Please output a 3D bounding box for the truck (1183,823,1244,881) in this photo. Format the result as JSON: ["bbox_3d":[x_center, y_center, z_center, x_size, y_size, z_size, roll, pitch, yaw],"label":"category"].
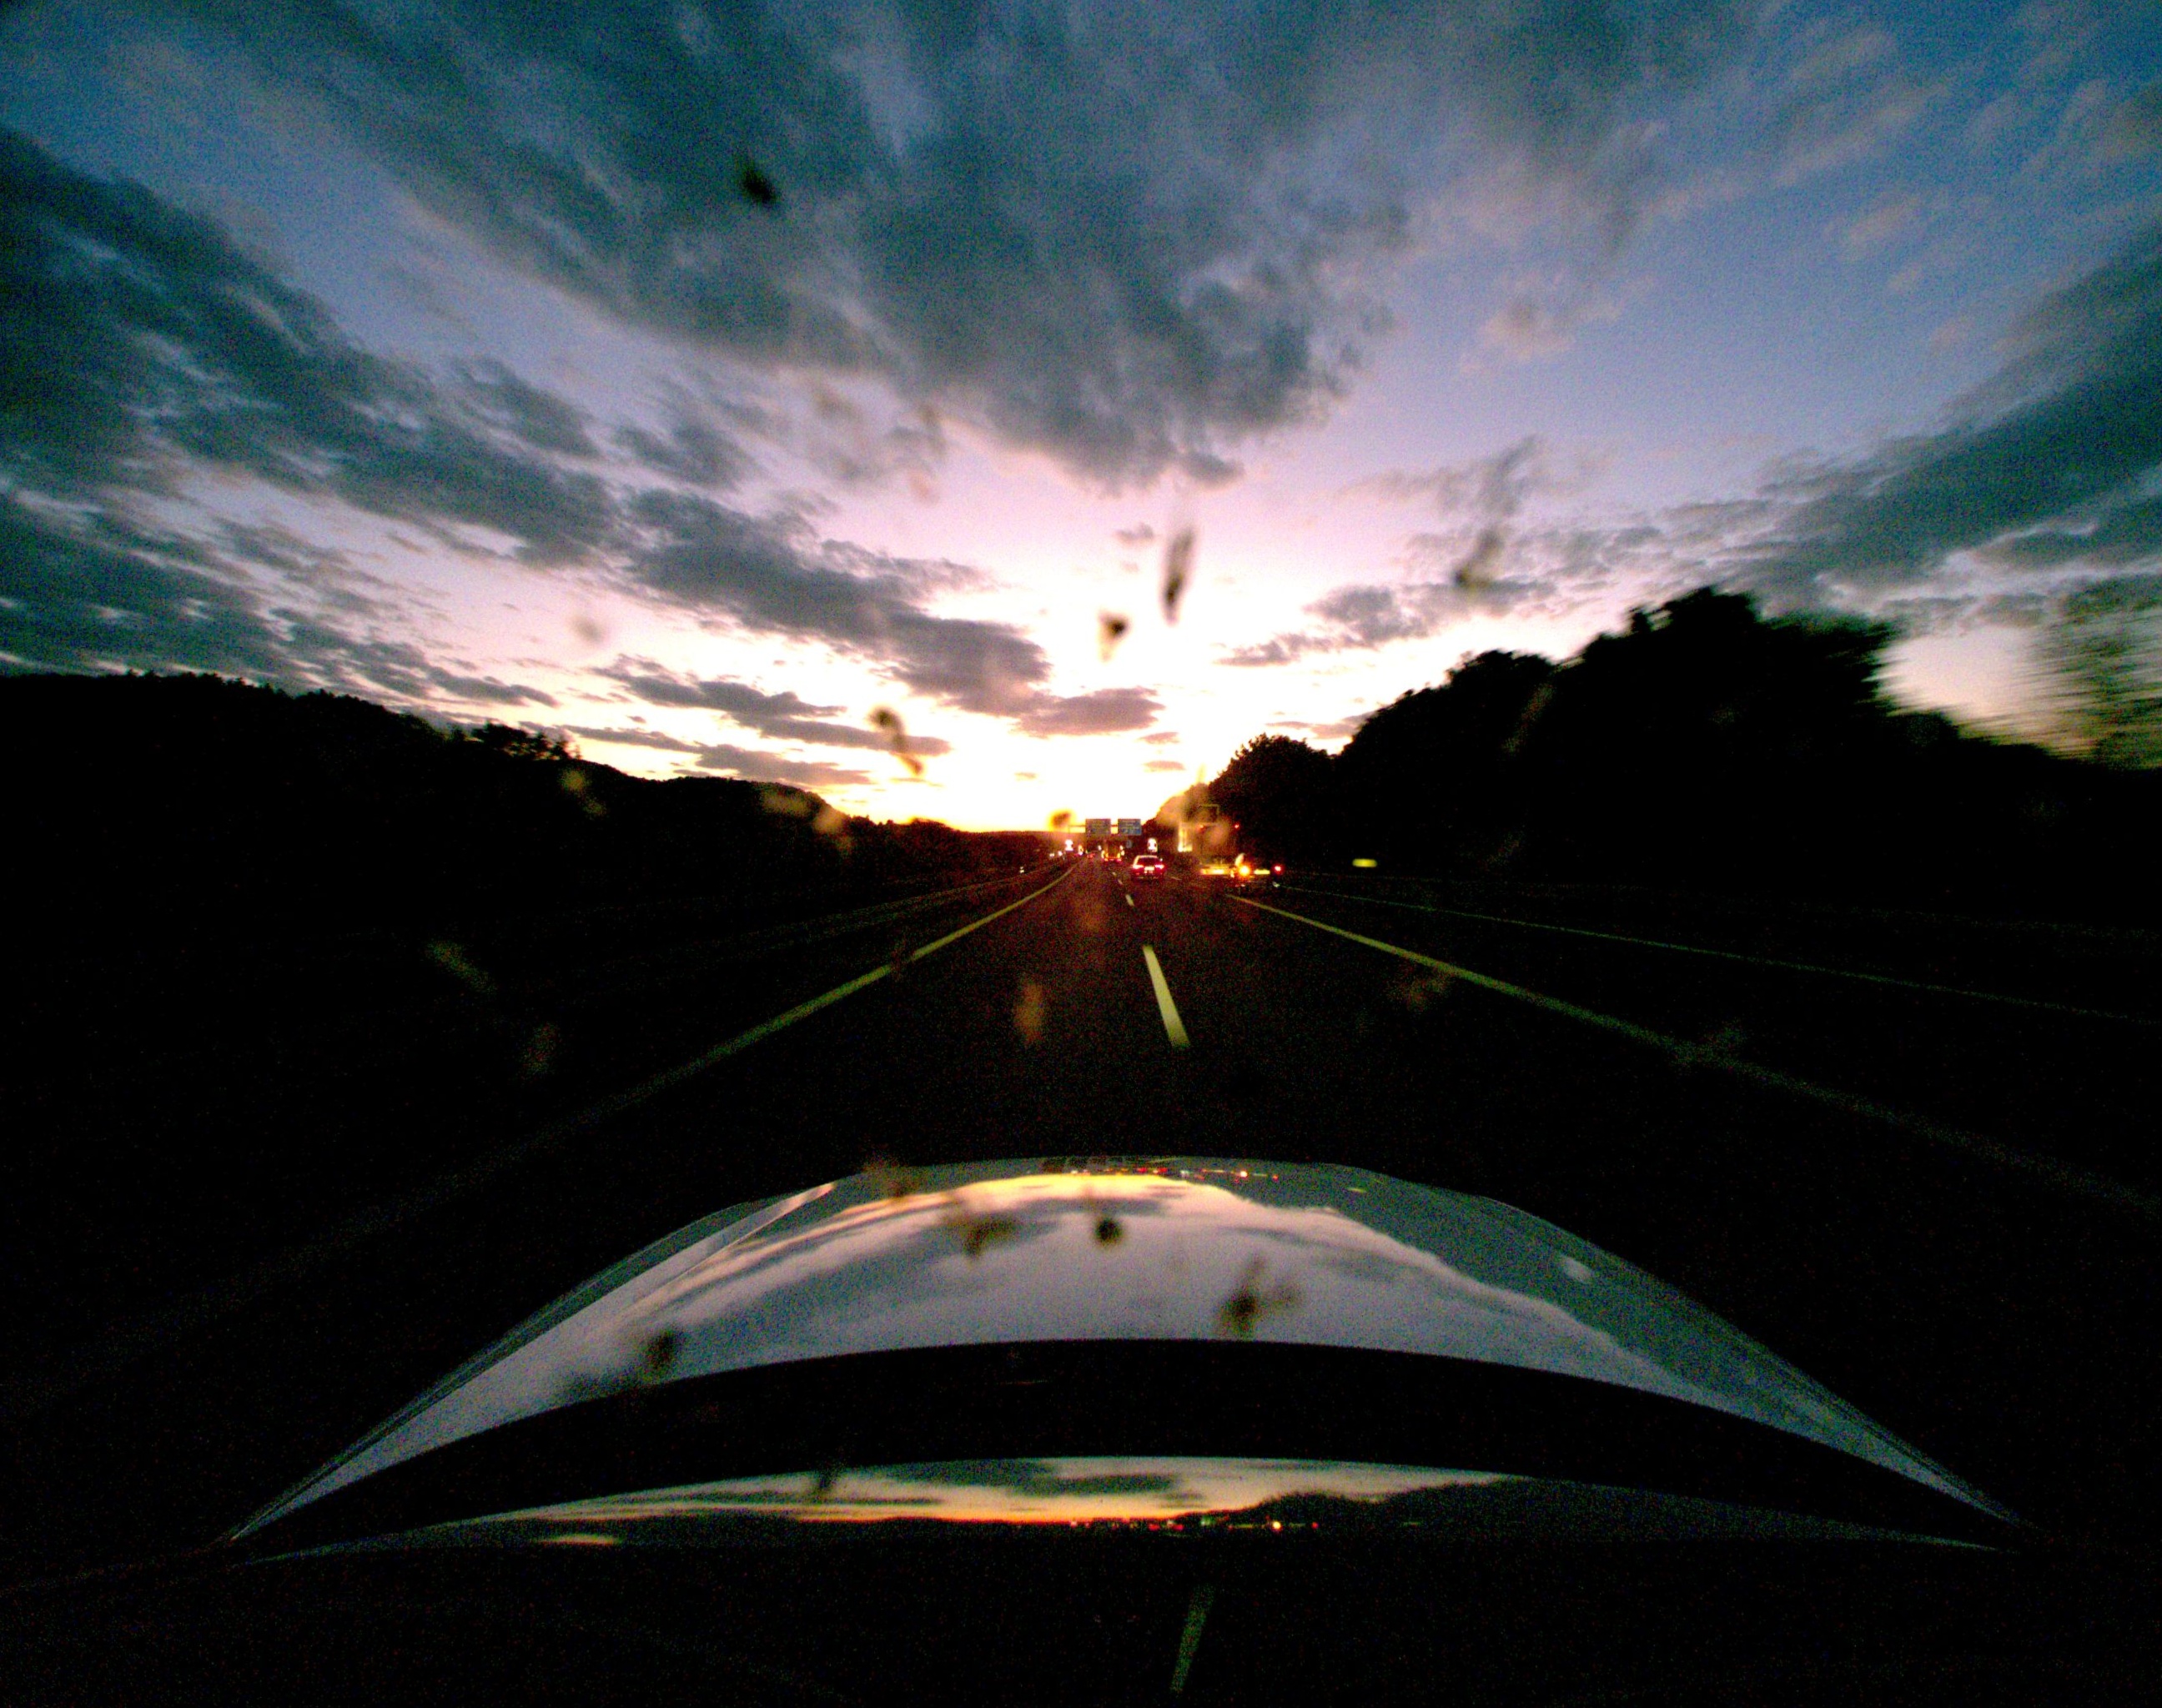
[{"bbox_3d":[7.410,-0.090,46.286,2.261,2.972,6.630,2,0,0],"label":"truck"}]

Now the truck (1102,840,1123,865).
[{"bbox_3d":[5.708,-0.222,147.659,3.498,4.301,9.890,0,-1,0],"label":"truck"}]

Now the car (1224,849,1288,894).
[{"bbox_3d":[6.382,0.619,30.007,1.606,1.556,3.317,0,-1,-1],"label":"car"}]

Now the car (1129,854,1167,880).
[{"bbox_3d":[3.864,0.767,47.500,1.908,1.442,4.000,0,-1,0],"label":"car"}]
